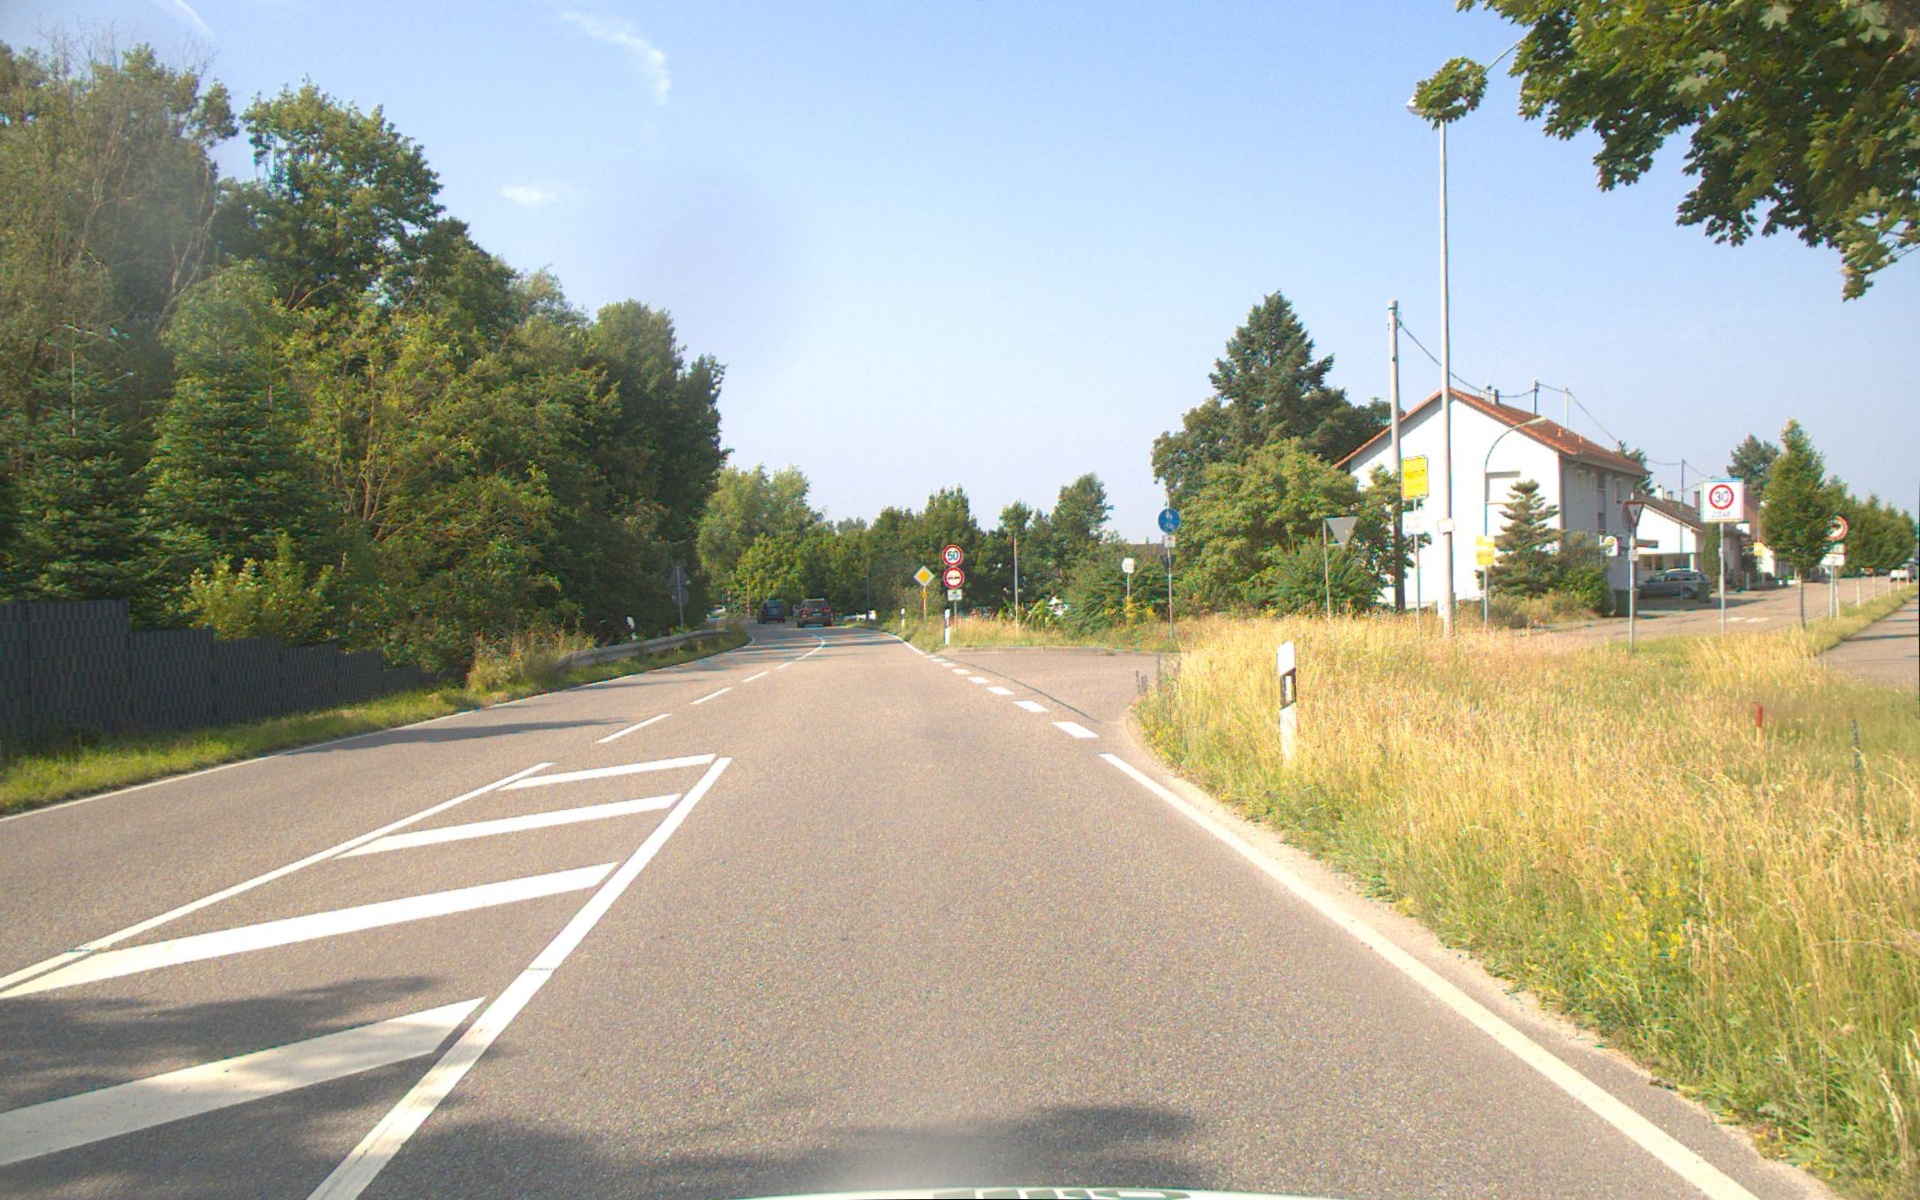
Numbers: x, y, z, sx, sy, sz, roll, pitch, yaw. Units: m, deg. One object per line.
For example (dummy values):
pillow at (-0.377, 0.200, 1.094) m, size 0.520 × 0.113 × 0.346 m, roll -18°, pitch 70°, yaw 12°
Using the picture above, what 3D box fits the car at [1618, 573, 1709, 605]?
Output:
car at (38.653, -0.590, 90.914) m, size 4.373 × 1.728 × 1.763 m, roll 0°, pitch 0°, yaw 38°

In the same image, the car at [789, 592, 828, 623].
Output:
car at (-9.294, 0.447, 101.210) m, size 1.892 × 1.802 × 3.987 m, roll -1°, pitch 0°, yaw -12°

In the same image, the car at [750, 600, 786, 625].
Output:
car at (-14.325, 0.913, 123.289) m, size 1.973 × 1.802 × 3.980 m, roll -1°, pitch 0°, yaw -18°
